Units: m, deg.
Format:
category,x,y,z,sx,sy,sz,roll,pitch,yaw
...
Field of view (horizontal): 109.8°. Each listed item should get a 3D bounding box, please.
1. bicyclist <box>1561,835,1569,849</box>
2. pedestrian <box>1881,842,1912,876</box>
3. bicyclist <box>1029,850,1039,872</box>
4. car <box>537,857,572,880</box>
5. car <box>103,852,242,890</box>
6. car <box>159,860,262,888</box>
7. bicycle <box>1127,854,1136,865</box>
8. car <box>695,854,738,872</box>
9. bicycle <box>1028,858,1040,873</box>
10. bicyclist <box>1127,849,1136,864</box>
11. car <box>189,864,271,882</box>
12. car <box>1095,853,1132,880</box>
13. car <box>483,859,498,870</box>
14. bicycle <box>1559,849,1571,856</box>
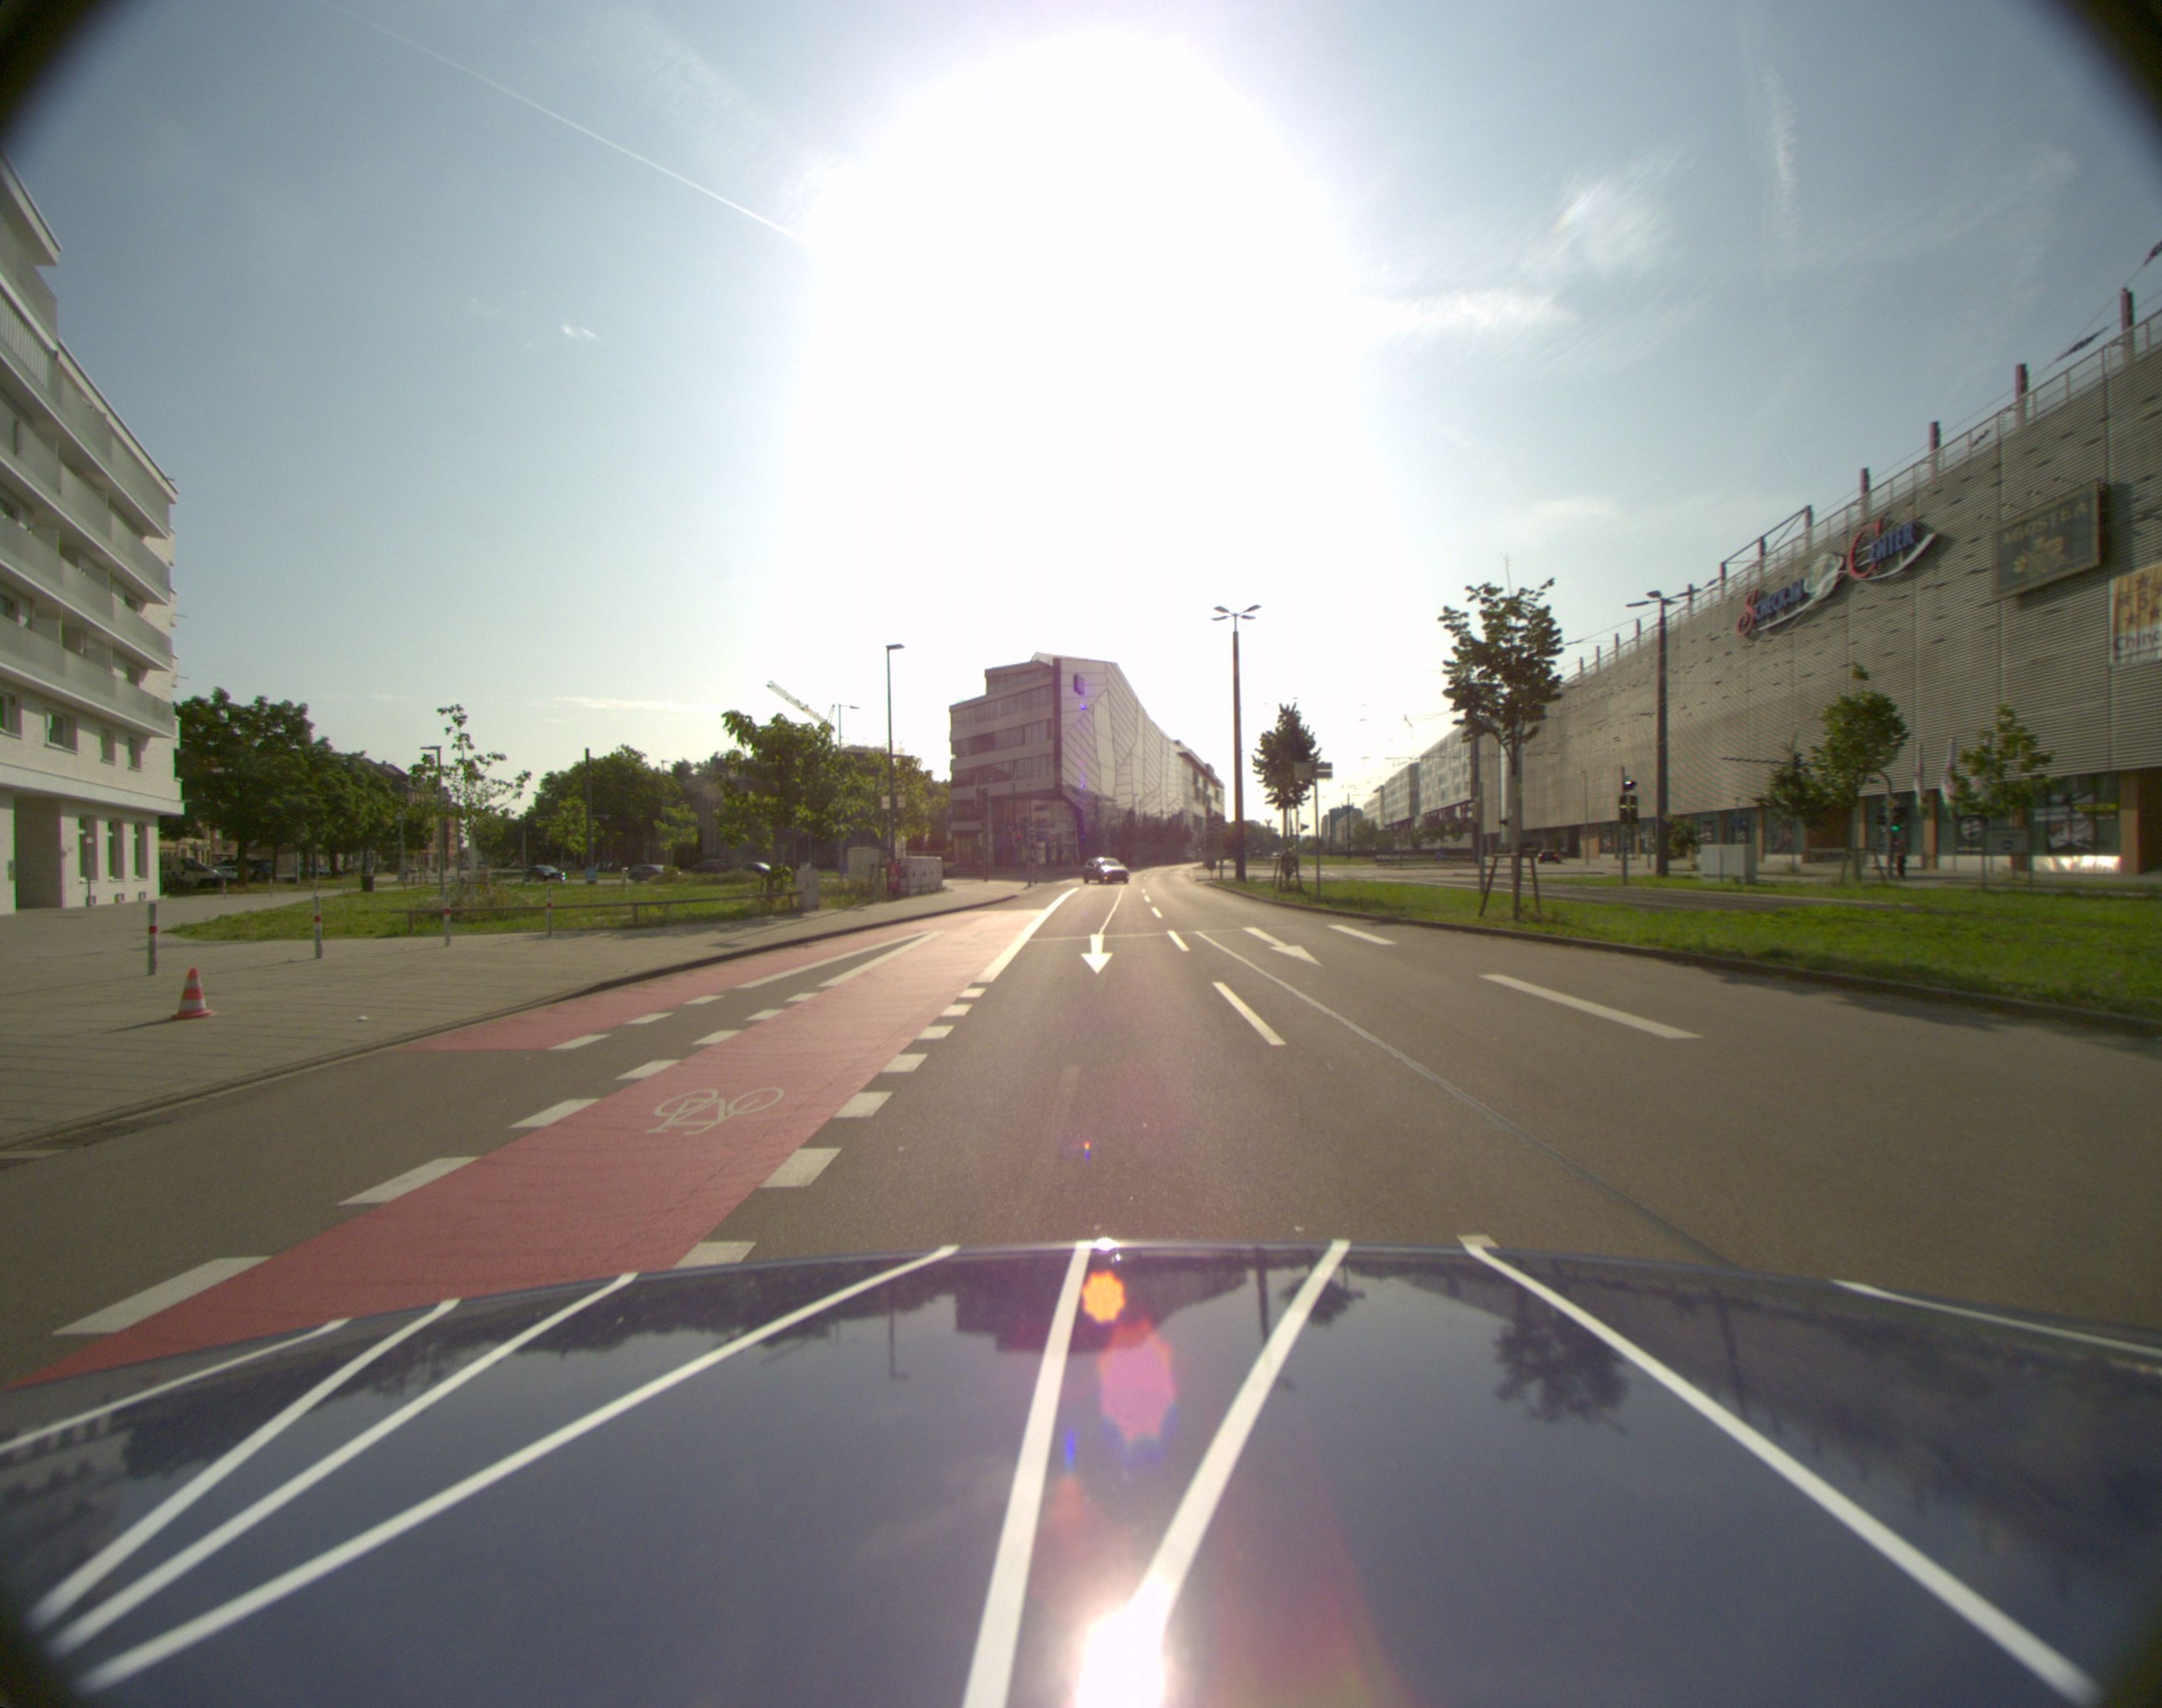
category,x,y,z,sx,sy,sz,roll,pitch,yaw
bicyclist,55.786,-1.360,87.532,0.567,1.621,0.715,0,2,13
pedestrian,37.993,0.250,35.396,0.762,1.570,0.590,-1,1,11
bicyclist,-3.742,0.570,60.427,0.669,1.693,0.637,-1,2,4
car,-49.695,1.346,71.682,3.988,2.002,2.004,0,1,44
car,-55.064,0.987,46.191,1.875,2.166,5.055,-1,0,23
car,-56.695,1.268,49.583,1.876,1.696,3.989,-1,0,16
bicycle,5.428,0.587,81.977,0.418,1.050,1.962,0,2,21
car,-39.215,0.977,81.724,4.801,1.773,1.959,0,2,33
bicycle,-3.748,0.887,60.344,0.669,1.092,1.805,-1,2,4
bicyclist,5.444,0.282,81.944,0.782,1.577,0.933,0,2,21
car,-66.666,1.450,59.592,1.718,1.242,3.860,-1,0,17
car,1.807,0.687,43.190,1.644,1.411,3.893,-1,1,-4
car,-114.716,1.995,147.534,2.004,1.968,3.988,-3,3,-41
bicycle,55.818,-0.135,87.594,0.581,0.775,1.871,-1,0,14
